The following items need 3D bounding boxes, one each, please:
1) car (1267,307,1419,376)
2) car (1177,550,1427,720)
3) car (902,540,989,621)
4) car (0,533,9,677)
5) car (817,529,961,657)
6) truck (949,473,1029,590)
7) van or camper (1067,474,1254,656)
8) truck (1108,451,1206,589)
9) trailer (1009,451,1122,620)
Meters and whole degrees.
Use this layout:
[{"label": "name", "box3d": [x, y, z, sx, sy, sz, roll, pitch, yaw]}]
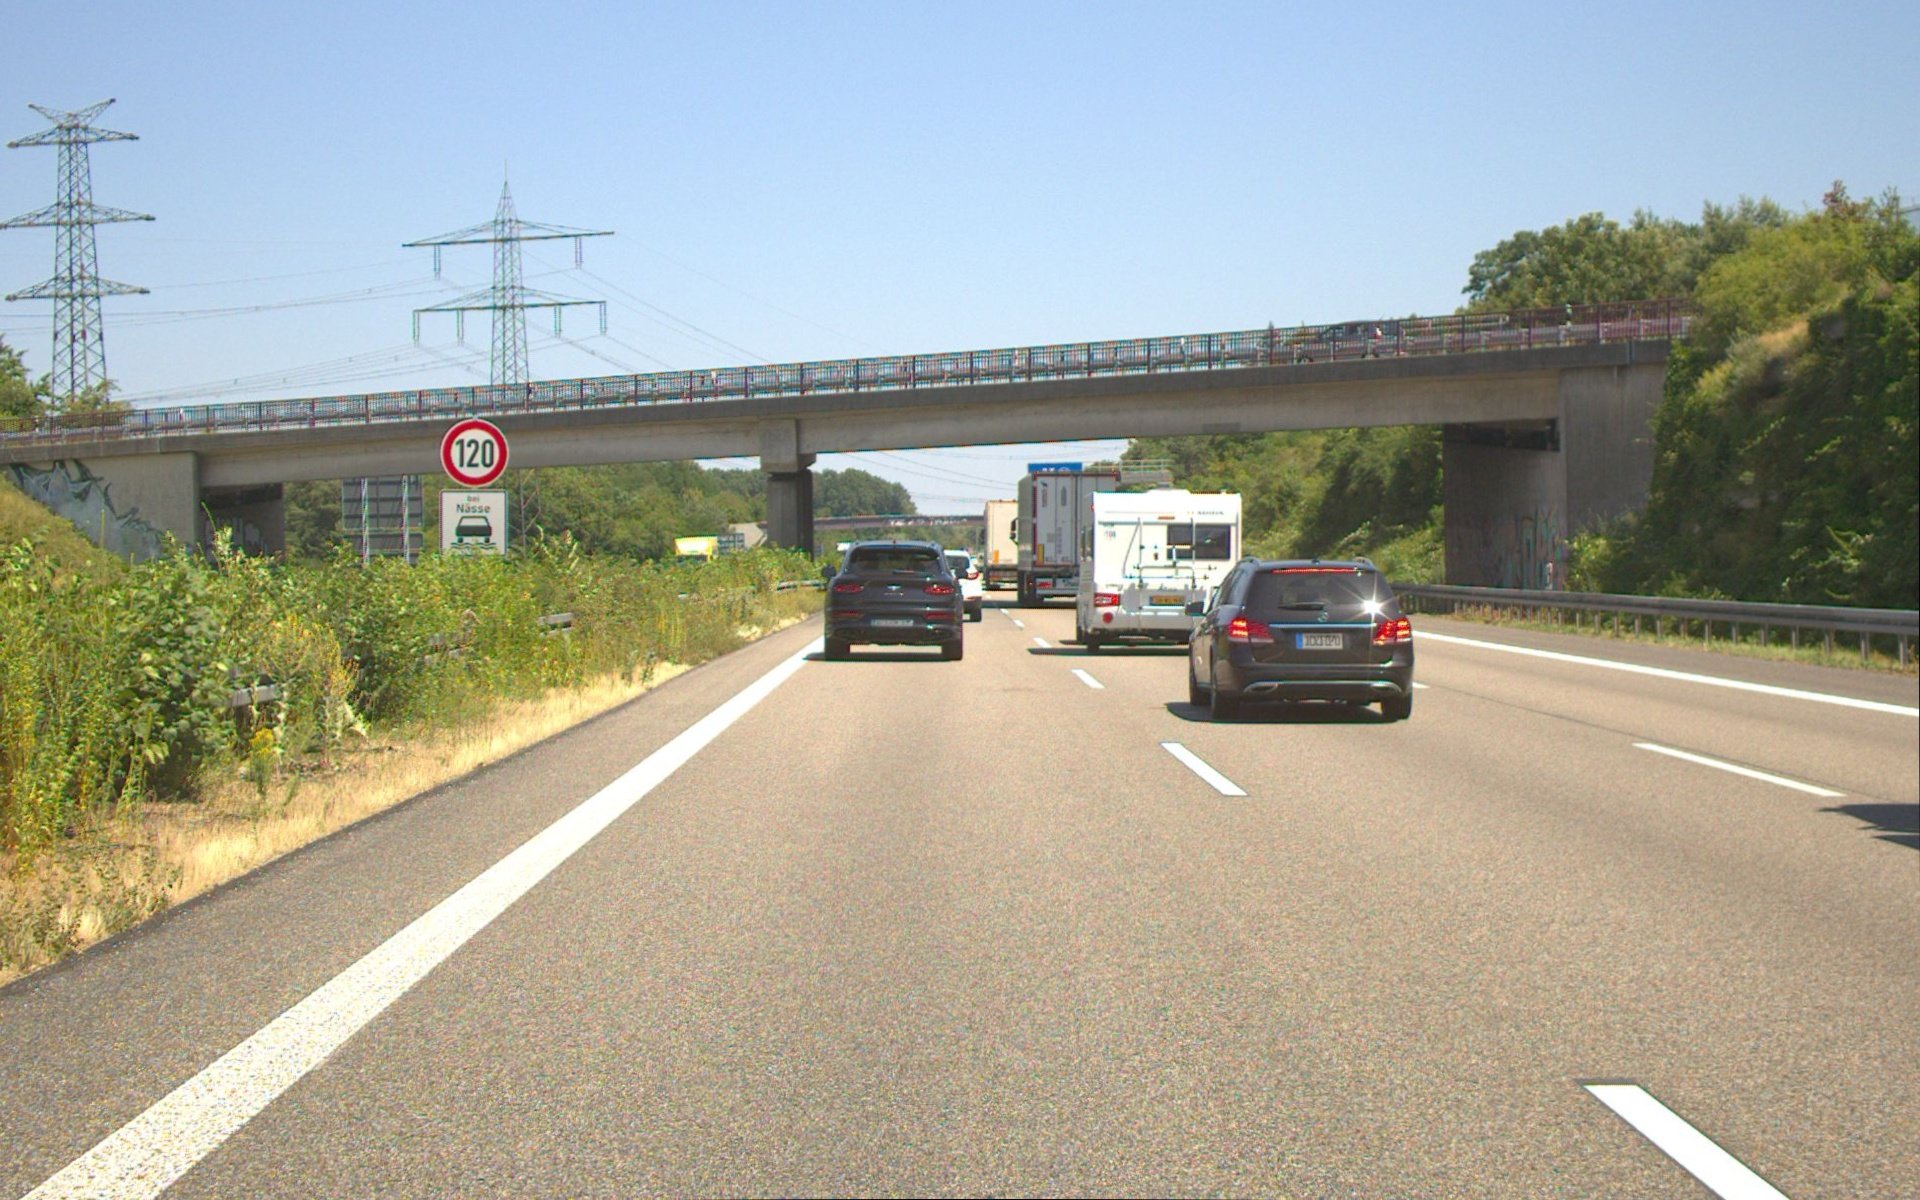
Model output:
[{"label": "car", "box3d": [11.341, -7.636, 101.833, 3.994, 1.645, 1.996, -2, -1, 32]}, {"label": "car", "box3d": [3.182, 0.275, 32.826, 1.841, 1.500, 4.738, 0, 1, -1]}, {"label": "car", "box3d": [-0.372, -0.483, 80.457, 1.961, 1.808, 4.449, -1, 1, -1]}, {"label": "car", "box3d": [-14.177, 0.115, 44.871, 1.997, 1.980, 5.839, 0, 1, -1]}, {"label": "car", "box3d": [-1.029, -0.130, 50.198, 1.993, 1.766, 4.000, -1, 1, -1]}, {"label": "truck", "box3d": [1.308, -3.097, 156.905, 3.512, 5.149, 10.258, 0, 1, 0]}, {"label": "van or camper", "box3d": [3.068, -0.575, 54.140, 2.439, 2.665, 6.350, -1, 1, -1]}, {"label": "truck", "box3d": [7.227, -2.885, 127.316, 3.087, 4.868, 8.798, 1, 0, 0]}, {"label": "trailer", "box3d": [3.162, -1.920, 106.271, 3.087, 4.868, 12.258, 1, 0, 0]}]
